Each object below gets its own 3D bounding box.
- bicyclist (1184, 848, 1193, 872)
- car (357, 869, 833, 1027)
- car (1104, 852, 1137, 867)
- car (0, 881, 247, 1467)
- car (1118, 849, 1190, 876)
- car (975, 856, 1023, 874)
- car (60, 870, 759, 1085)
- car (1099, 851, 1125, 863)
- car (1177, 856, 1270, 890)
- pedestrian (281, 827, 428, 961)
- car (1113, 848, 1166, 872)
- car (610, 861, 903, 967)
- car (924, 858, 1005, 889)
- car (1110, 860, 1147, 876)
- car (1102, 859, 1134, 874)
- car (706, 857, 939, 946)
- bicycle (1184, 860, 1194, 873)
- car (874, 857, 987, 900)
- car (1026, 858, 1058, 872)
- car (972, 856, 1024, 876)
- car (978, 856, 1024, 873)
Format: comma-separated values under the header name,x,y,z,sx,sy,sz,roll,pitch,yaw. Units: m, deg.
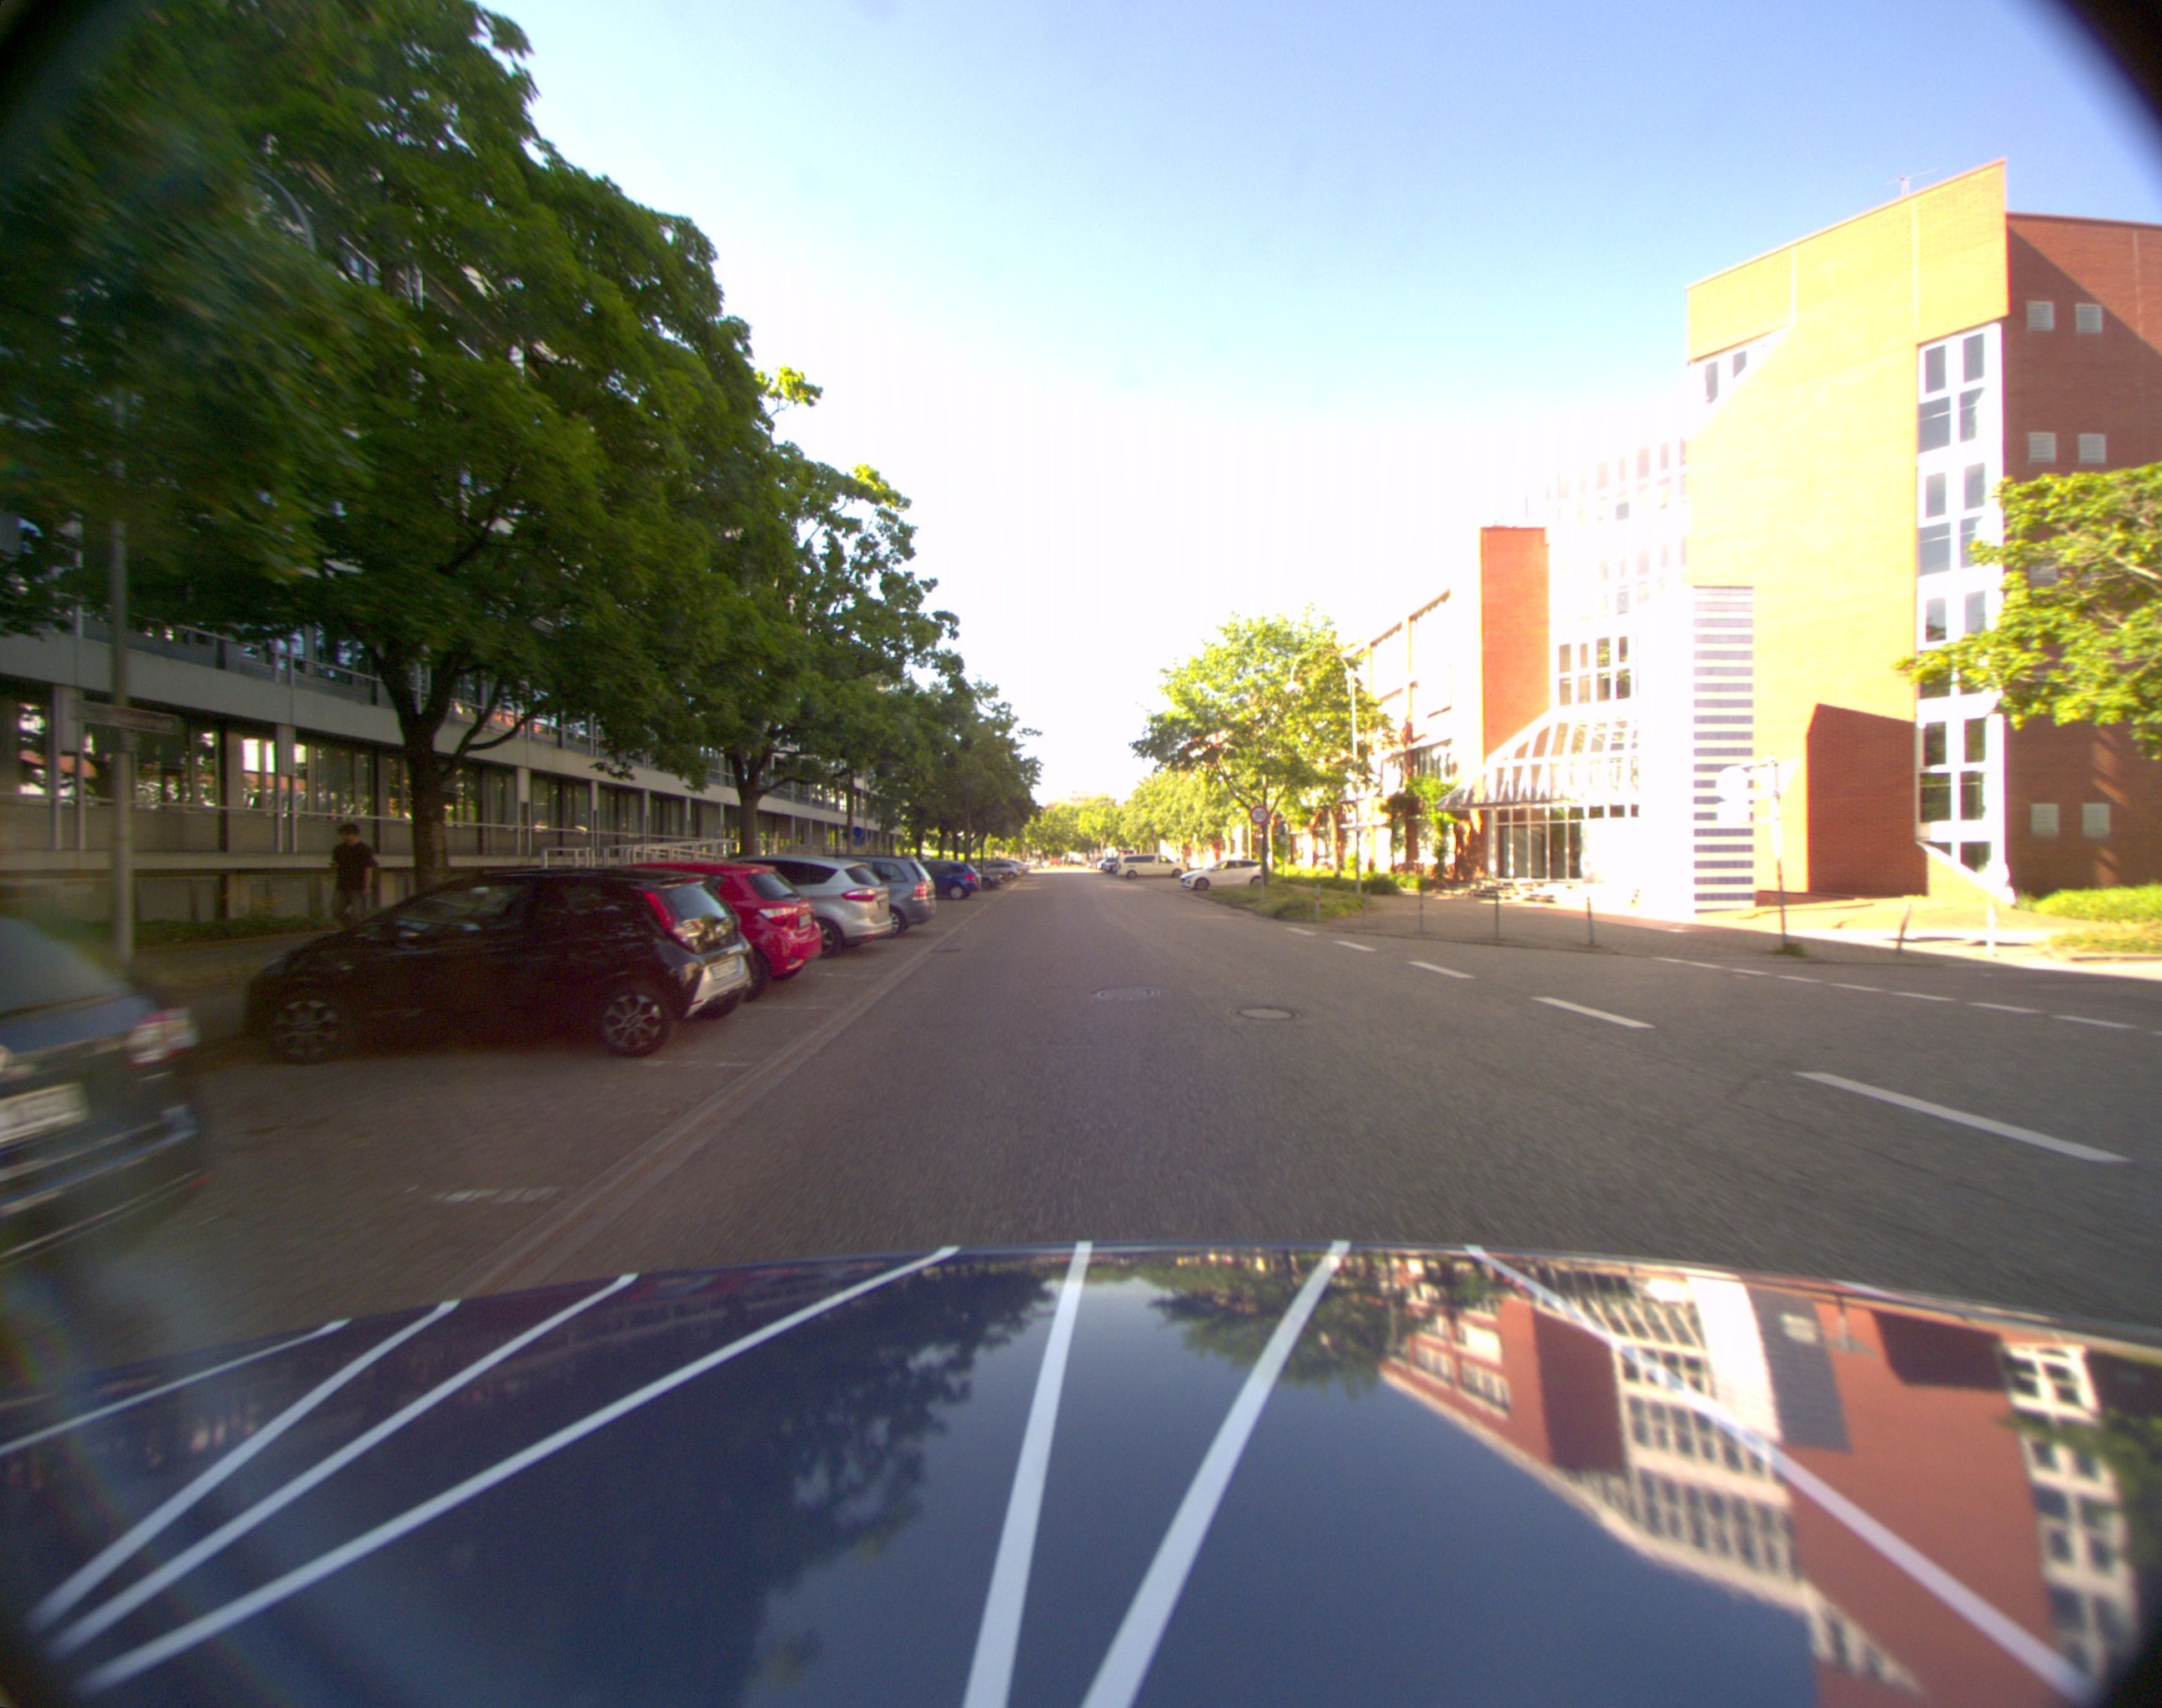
name,x,y,z,sx,sy,sz,roll,pitch,yaw
bicyclist,9.266,0.522,65.232,0.633,2.002,0.609,-2,1,1
car,-5.138,0.944,8.604,4.137,1.508,1.835,0,0,-7
car,4.347,0.605,83.180,3.452,1.619,1.594,0,0,-3
car,-5.034,0.870,1.754,4.137,1.581,1.659,1,1,-5
car,5.556,0.640,58.345,5.318,1.875,2.000,-1,0,-1
car,-6.960,0.939,64.882,3.999,1.470,1.803,1,0,-5
car,-5.110,0.923,6.328,4.137,1.452,1.659,1,0,-6
car,4.164,0.357,103.052,3.452,1.647,1.594,0,0,-3
car,6.668,0.869,35.857,4.004,1.411,1.617,-2,0,-3
pedestrian,-10.355,0.542,10.885,1.037,1.788,1.018,-2,1,-3
car,5.206,0.556,68.227,4.635,2.156,2.000,0,0,-1
car,-5.092,0.911,12.325,3.997,1.575,1.714,0,0,-1
car,-5.755,0.974,37.871,3.918,1.374,1.586,1,1,-6
car,4.670,1.347,74.643,3.452,1.546,1.594,0,0,-3
car,4.114,1.435,85.189,3.452,1.647,1.594,0,0,-3
car,-5.041,0.900,15.363,4.137,1.657,1.906,0,0,-6
bicycle,9.281,1.070,65.274,0.637,1.092,2.155,-1,1,2
car,-5.804,0.930,29.520,3.997,1.486,1.714,1,0,1
car,-4.398,1.258,85.072,3.555,1.544,1.743,1,-2,-5
car,-6.481,0.928,59.784,3.999,1.471,1.803,0,0,-5
car,-7.093,0.919,67.706,3.999,1.471,1.803,1,1,-5
